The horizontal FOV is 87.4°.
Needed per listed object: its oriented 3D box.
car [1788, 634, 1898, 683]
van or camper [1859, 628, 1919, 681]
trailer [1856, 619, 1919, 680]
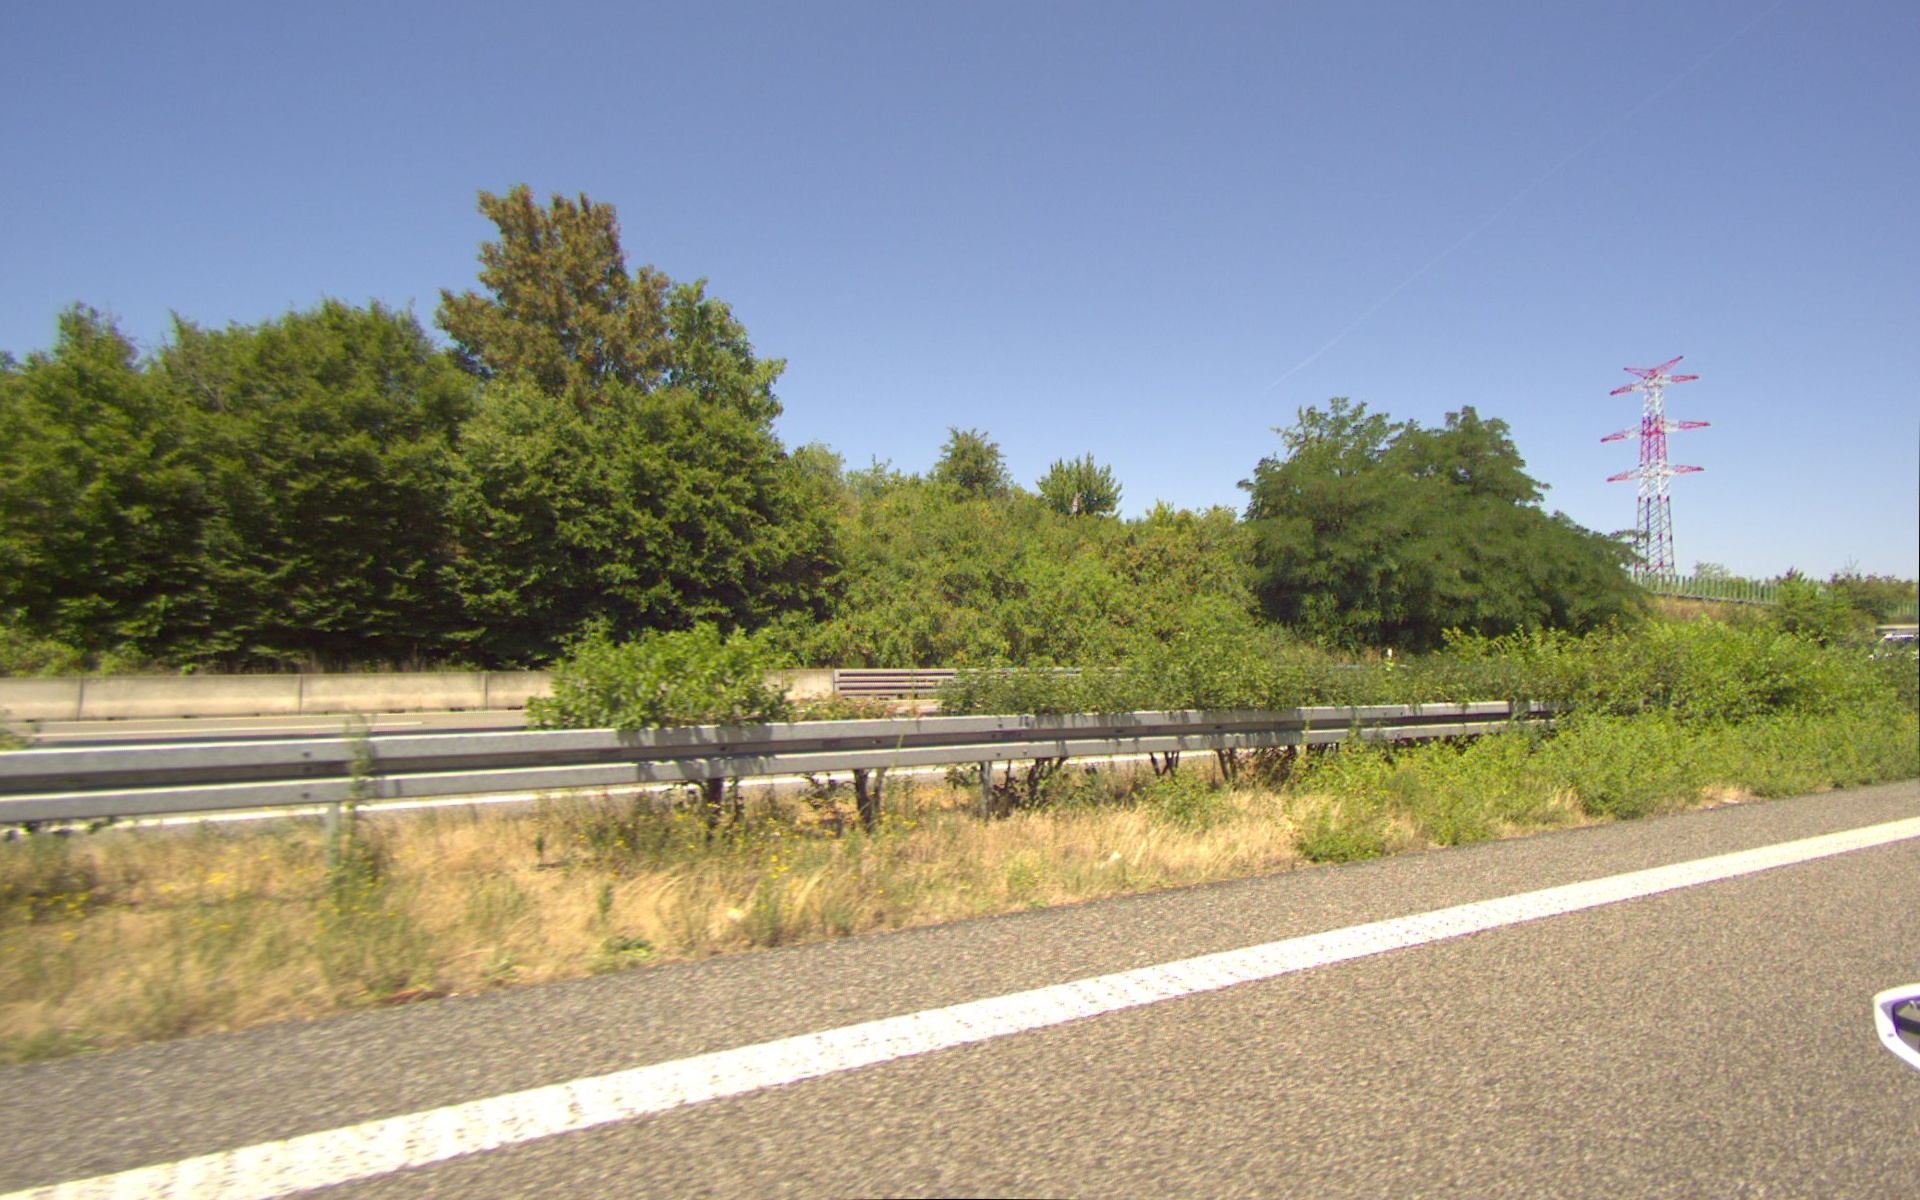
[{"bbox_3d":[38.337,2.505,43.595,4.959,1.951,1.936,1,0,-28],"label":"car"},{"bbox_3d":[35.492,1.986,36.917,5.146,1.789,1.958,1,0,-28],"label":"van or camper"},{"bbox_3d":[43.630,2.271,46.481,4.352,2.653,1.793,1,0,-28],"label":"trailer"}]
